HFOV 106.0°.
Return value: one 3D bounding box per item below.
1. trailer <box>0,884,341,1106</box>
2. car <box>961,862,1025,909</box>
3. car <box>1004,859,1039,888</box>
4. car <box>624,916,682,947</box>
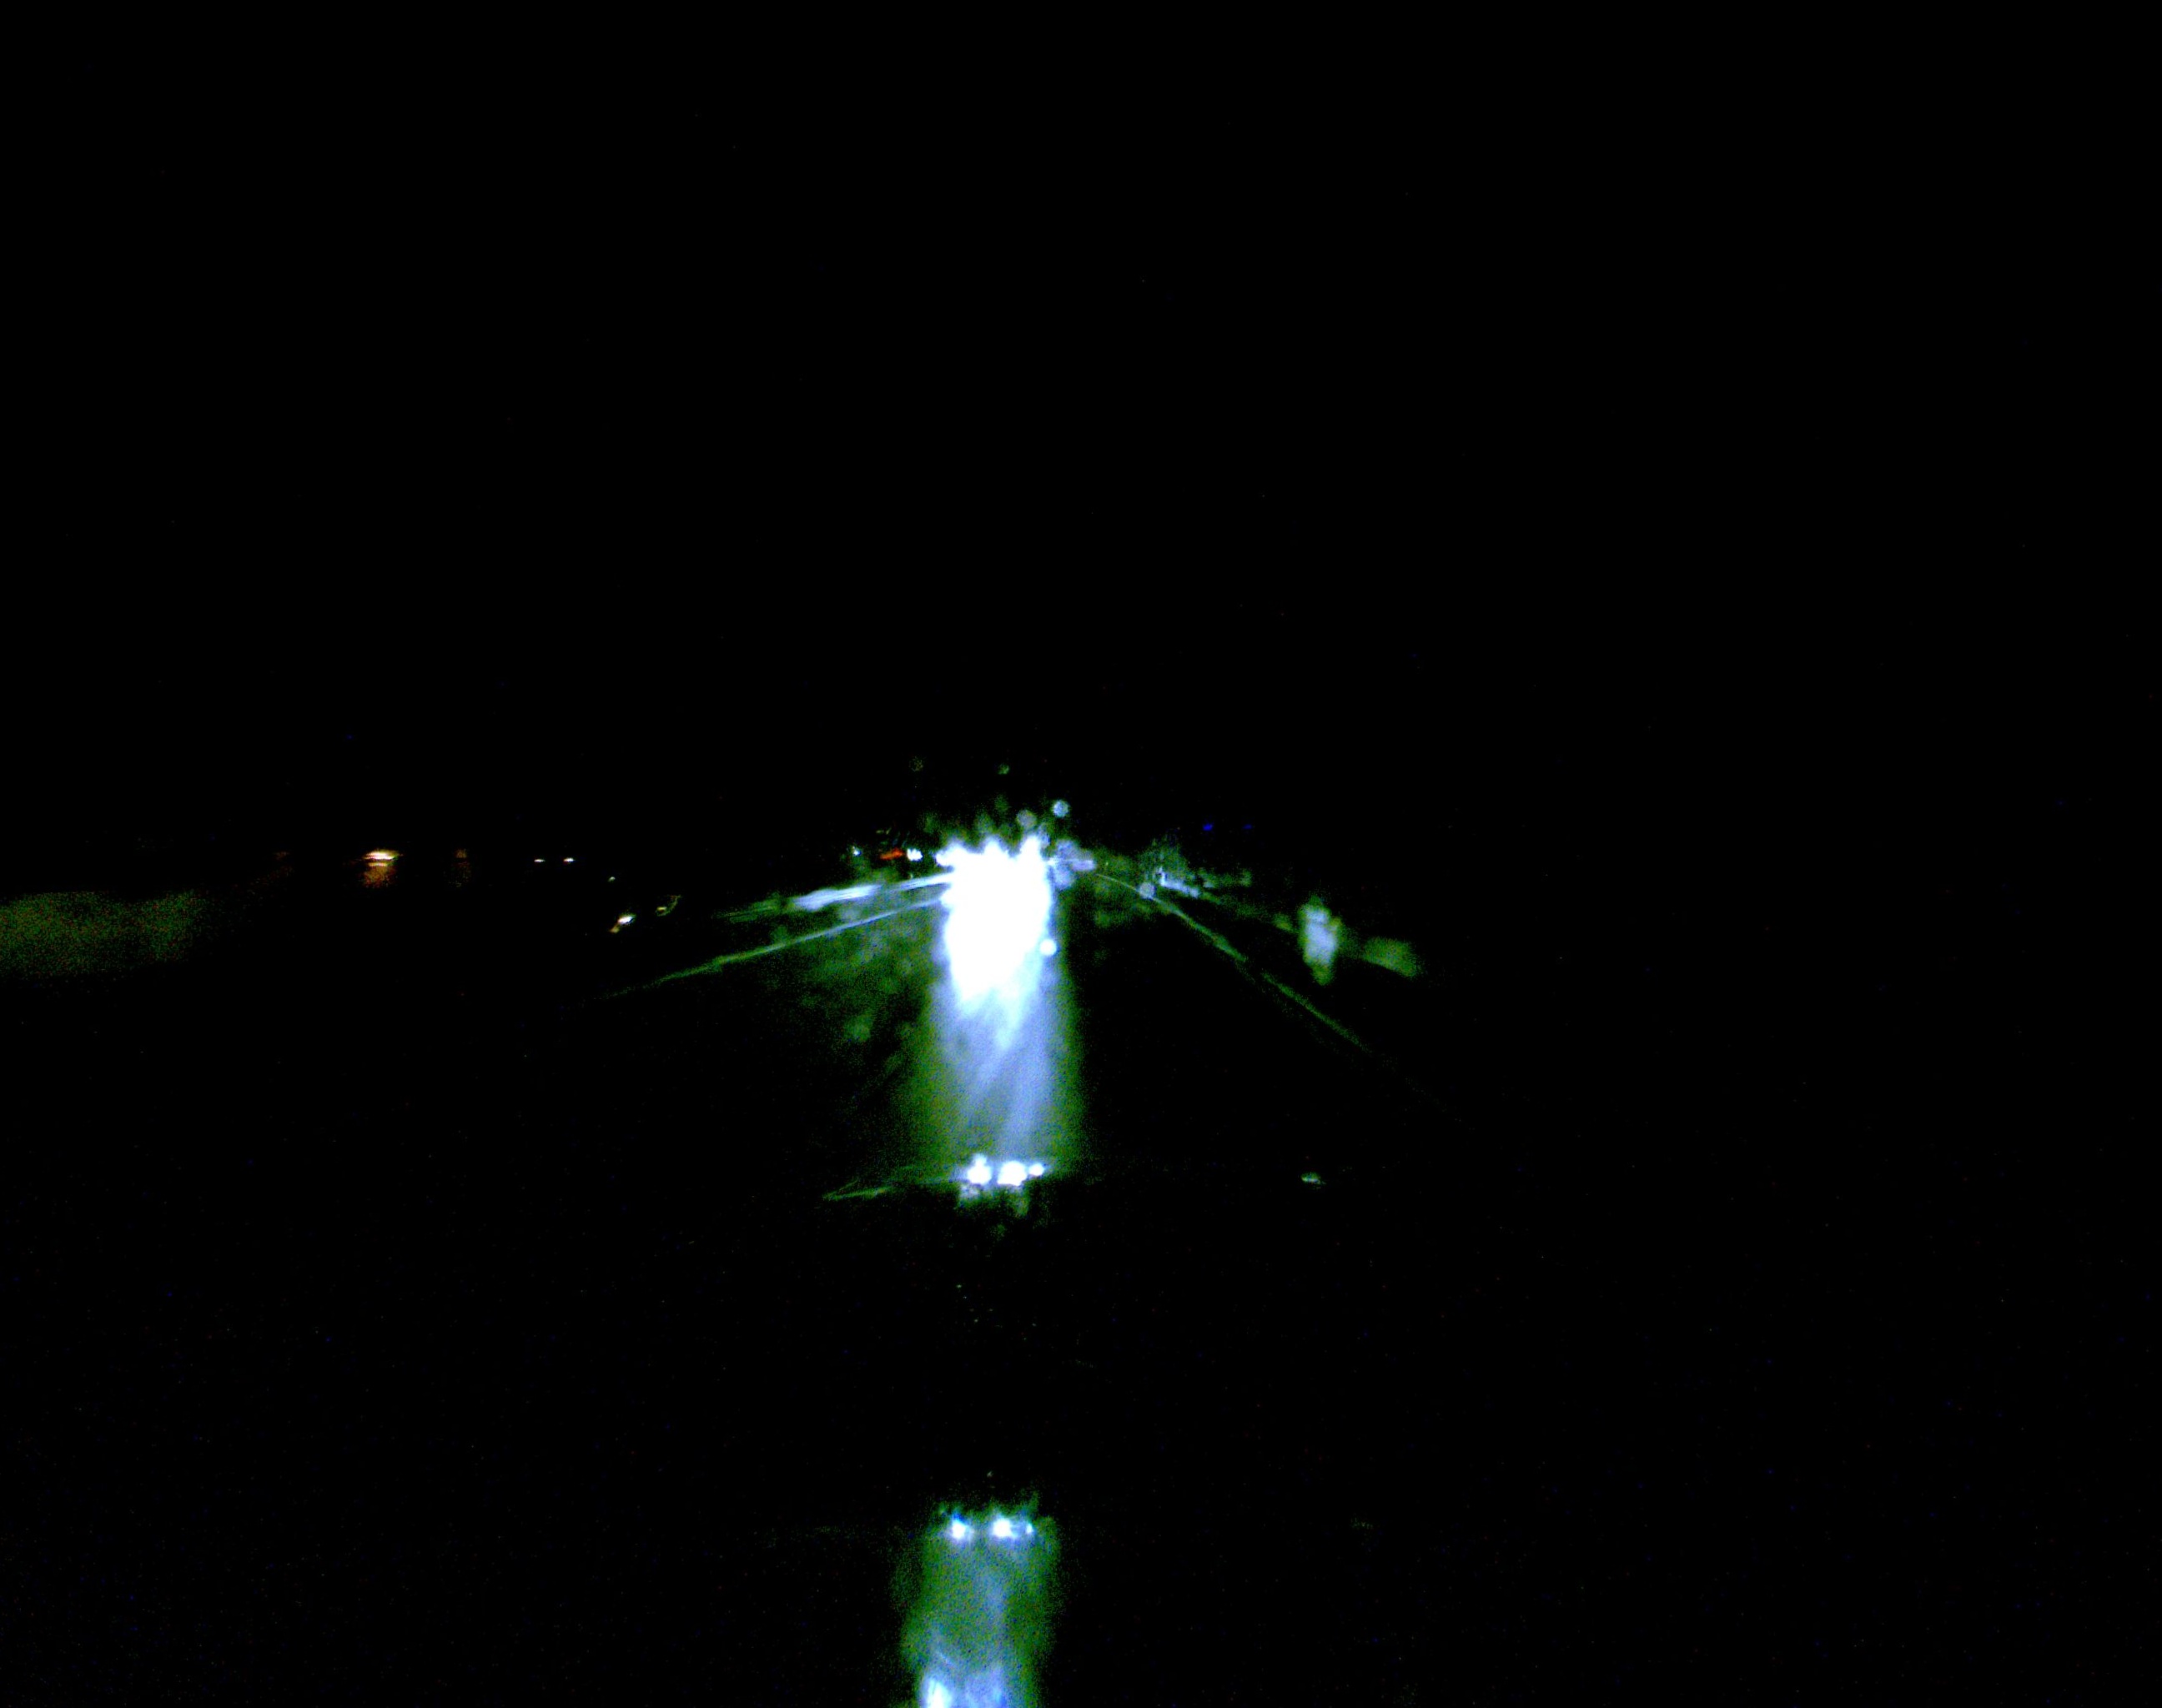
[{"bbox_3d":[-25.720,3.312,19.604,3.301,4.796,11.606,-1,0,17],"label":"trailer"},{"bbox_3d":[-2.982,1.048,28.291,1.780,1.479,3.680,-1,0,0],"label":"car"},{"bbox_3d":[-3.562,1.135,49.362,1.803,1.676,4.290,-1,0,-1],"label":"car"},{"bbox_3d":[-27.561,4.947,52.581,1.806,1.570,4.283,0,0,-6],"label":"car"}]
